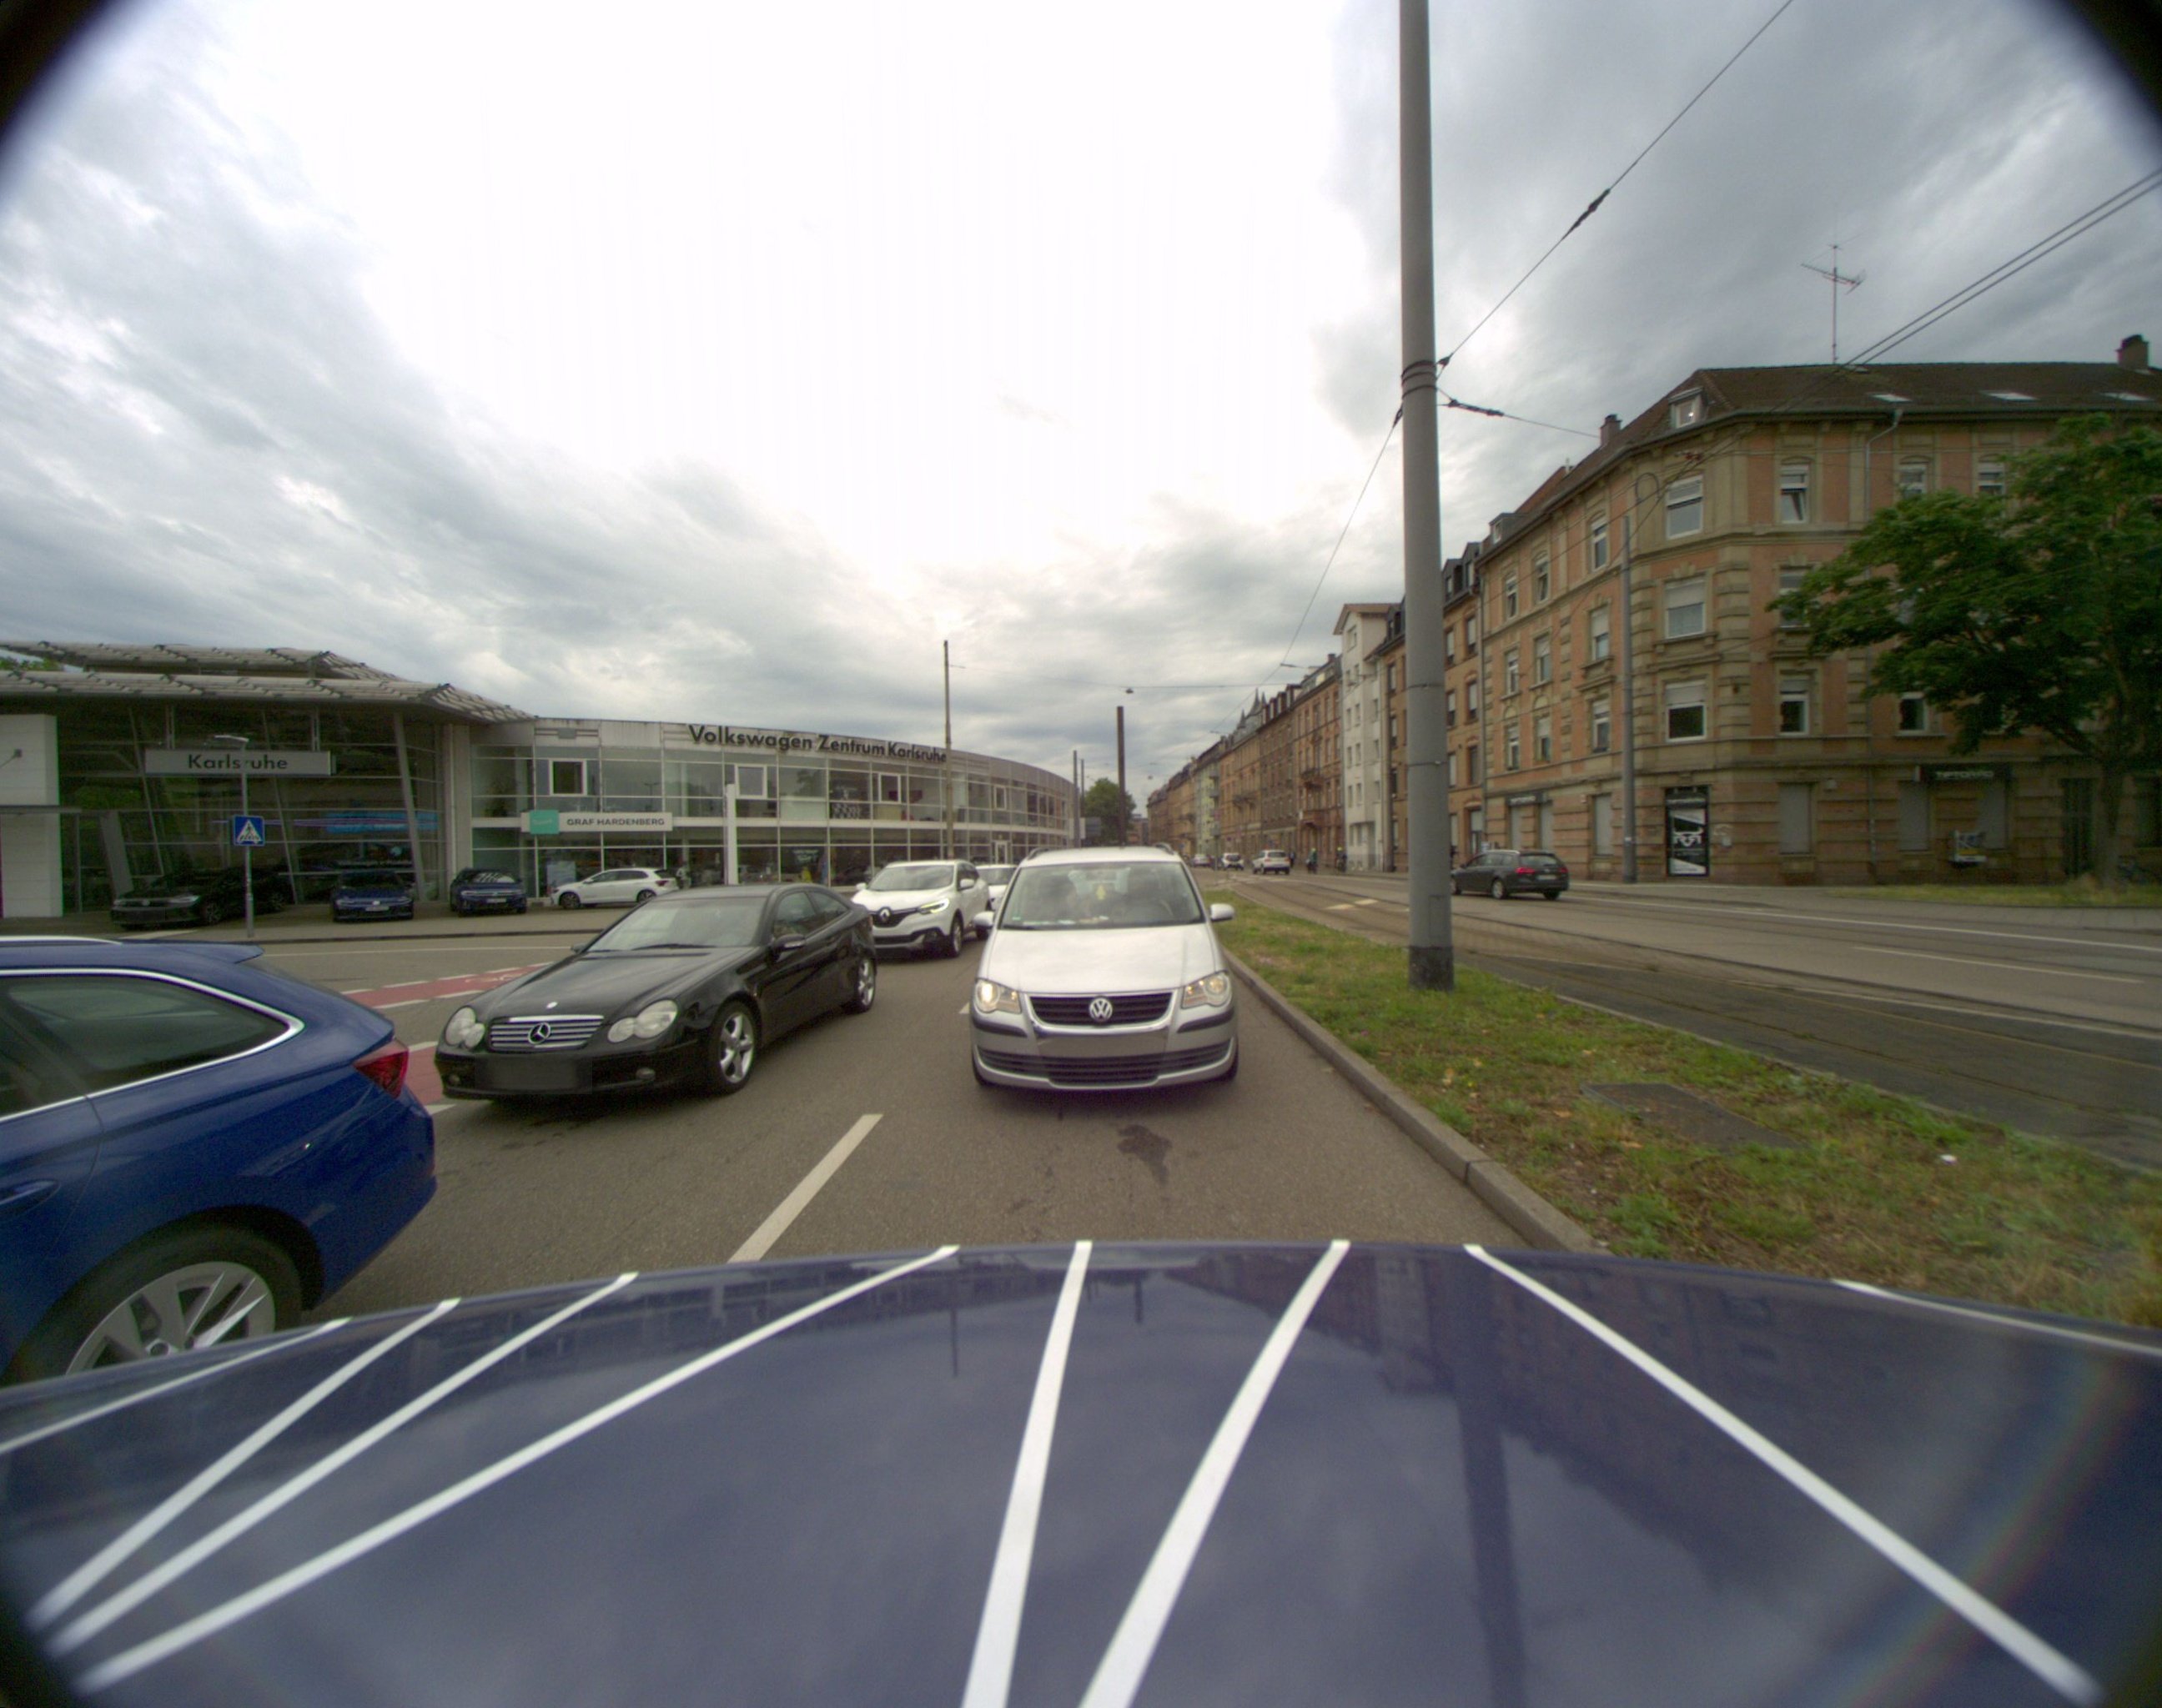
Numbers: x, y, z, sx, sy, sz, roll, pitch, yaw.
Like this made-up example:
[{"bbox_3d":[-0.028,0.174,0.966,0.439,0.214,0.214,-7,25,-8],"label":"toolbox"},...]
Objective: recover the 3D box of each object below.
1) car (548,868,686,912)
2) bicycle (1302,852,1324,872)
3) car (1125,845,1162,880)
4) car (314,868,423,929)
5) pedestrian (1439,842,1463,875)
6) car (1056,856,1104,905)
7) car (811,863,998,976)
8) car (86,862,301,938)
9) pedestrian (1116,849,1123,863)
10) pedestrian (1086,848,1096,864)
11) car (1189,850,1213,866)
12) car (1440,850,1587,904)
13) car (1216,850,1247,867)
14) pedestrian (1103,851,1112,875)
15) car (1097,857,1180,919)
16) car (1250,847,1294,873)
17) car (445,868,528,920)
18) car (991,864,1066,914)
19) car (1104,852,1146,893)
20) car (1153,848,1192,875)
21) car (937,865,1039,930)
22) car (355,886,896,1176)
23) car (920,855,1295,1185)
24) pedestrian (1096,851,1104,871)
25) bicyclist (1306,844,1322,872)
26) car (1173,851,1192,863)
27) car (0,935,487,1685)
[{"bbox_3d":[-16.894,1.276,27.854,3.907,1.433,1.731,-1,1,-9],"label":"car"},{"bbox_3d":[15.838,0.532,51.962,0.798,1.285,2.411,-1,1,1],"label":"bicycle"},{"bbox_3d":[3.777,0.474,46.332,1.998,2.002,4.000,-1,0,1],"label":"car"},{"bbox_3d":[-22.240,1.309,23.887,1.961,1.517,4.218,-1,2,-36],"label":"car"},{"bbox_3d":[18.922,0.215,38.878,0.812,1.666,0.798,-1,1,-3],"label":"pedestrian"},{"bbox_3d":[0.020,1.131,34.137,1.998,2.002,4.000,-1,0,1],"label":"car"},{"bbox_3d":[-2.782,0.976,13.073,1.982,1.550,4.146,-1,0,4],"label":"car"},{"bbox_3d":[-26.492,1.279,22.995,1.959,1.635,4.664,-1,5,-17],"label":"car"},{"bbox_3d":[5.782,0.299,115.182,1.004,2.002,0.908,-1,1,1],"label":"pedestrian"},{"bbox_3d":[1.290,0.242,96.180,1.177,2.002,1.032,-1,1,1],"label":"pedestrian"},{"bbox_3d":[12.946,0.413,82.101,1.896,1.693,4.232,-1,0,-1],"label":"car"},{"bbox_3d":[13.098,0.637,23.381,1.888,1.461,4.463,-1,0,-1],"label":"car"},{"bbox_3d":[12.953,0.388,65.593,1.815,1.423,4.017,-1,0,-1],"label":"car"},{"bbox_3d":[2.148,0.737,61.934,0.652,1.904,0.602,-1,1,1],"label":"pedestrian"},{"bbox_3d":[1.567,0.831,20.505,1.972,1.447,4.194,-1,0,5],"label":"car"},{"bbox_3d":[13.058,0.399,52.083,1.835,1.635,4.230,-1,0,-1],"label":"car"},{"bbox_3d":[-20.045,1.273,25.545,1.795,1.552,4.023,-2,1,-44],"label":"car"},{"bbox_3d":[-1.624,1.079,24.950,1.907,1.428,3.973,-1,0,4],"label":"car"},{"bbox_3d":[2.253,0.942,39.885,1.998,2.002,4.000,-1,0,1],"label":"car"},{"bbox_3d":[6.375,0.477,53.407,2.372,1.744,5.130,-1,0,4],"label":"car"},{"bbox_3d":[-2.311,1.050,19.864,1.907,1.428,3.973,-1,0,4],"label":"car"},{"bbox_3d":[-3.105,1.099,6.478,1.769,1.362,4.422,-2,0,2],"label":"car"},{"bbox_3d":[0.192,0.858,6.404,1.863,1.609,5.062,-2,0,1],"label":"car"},{"bbox_3d":[1.673,0.617,65.688,0.663,1.671,0.650,-1,1,1],"label":"pedestrian"},{"bbox_3d":[15.823,0.284,51.648,0.824,1.856,0.924,-1,1,1],"label":"bicyclist"},{"bbox_3d":[13.316,0.400,99.735,1.819,1.500,4.574,-1,0,-1],"label":"car"},{"bbox_3d":[-3.179,1.056,0.479,1.770,1.428,4.757,-2,0,1],"label":"car"}]
